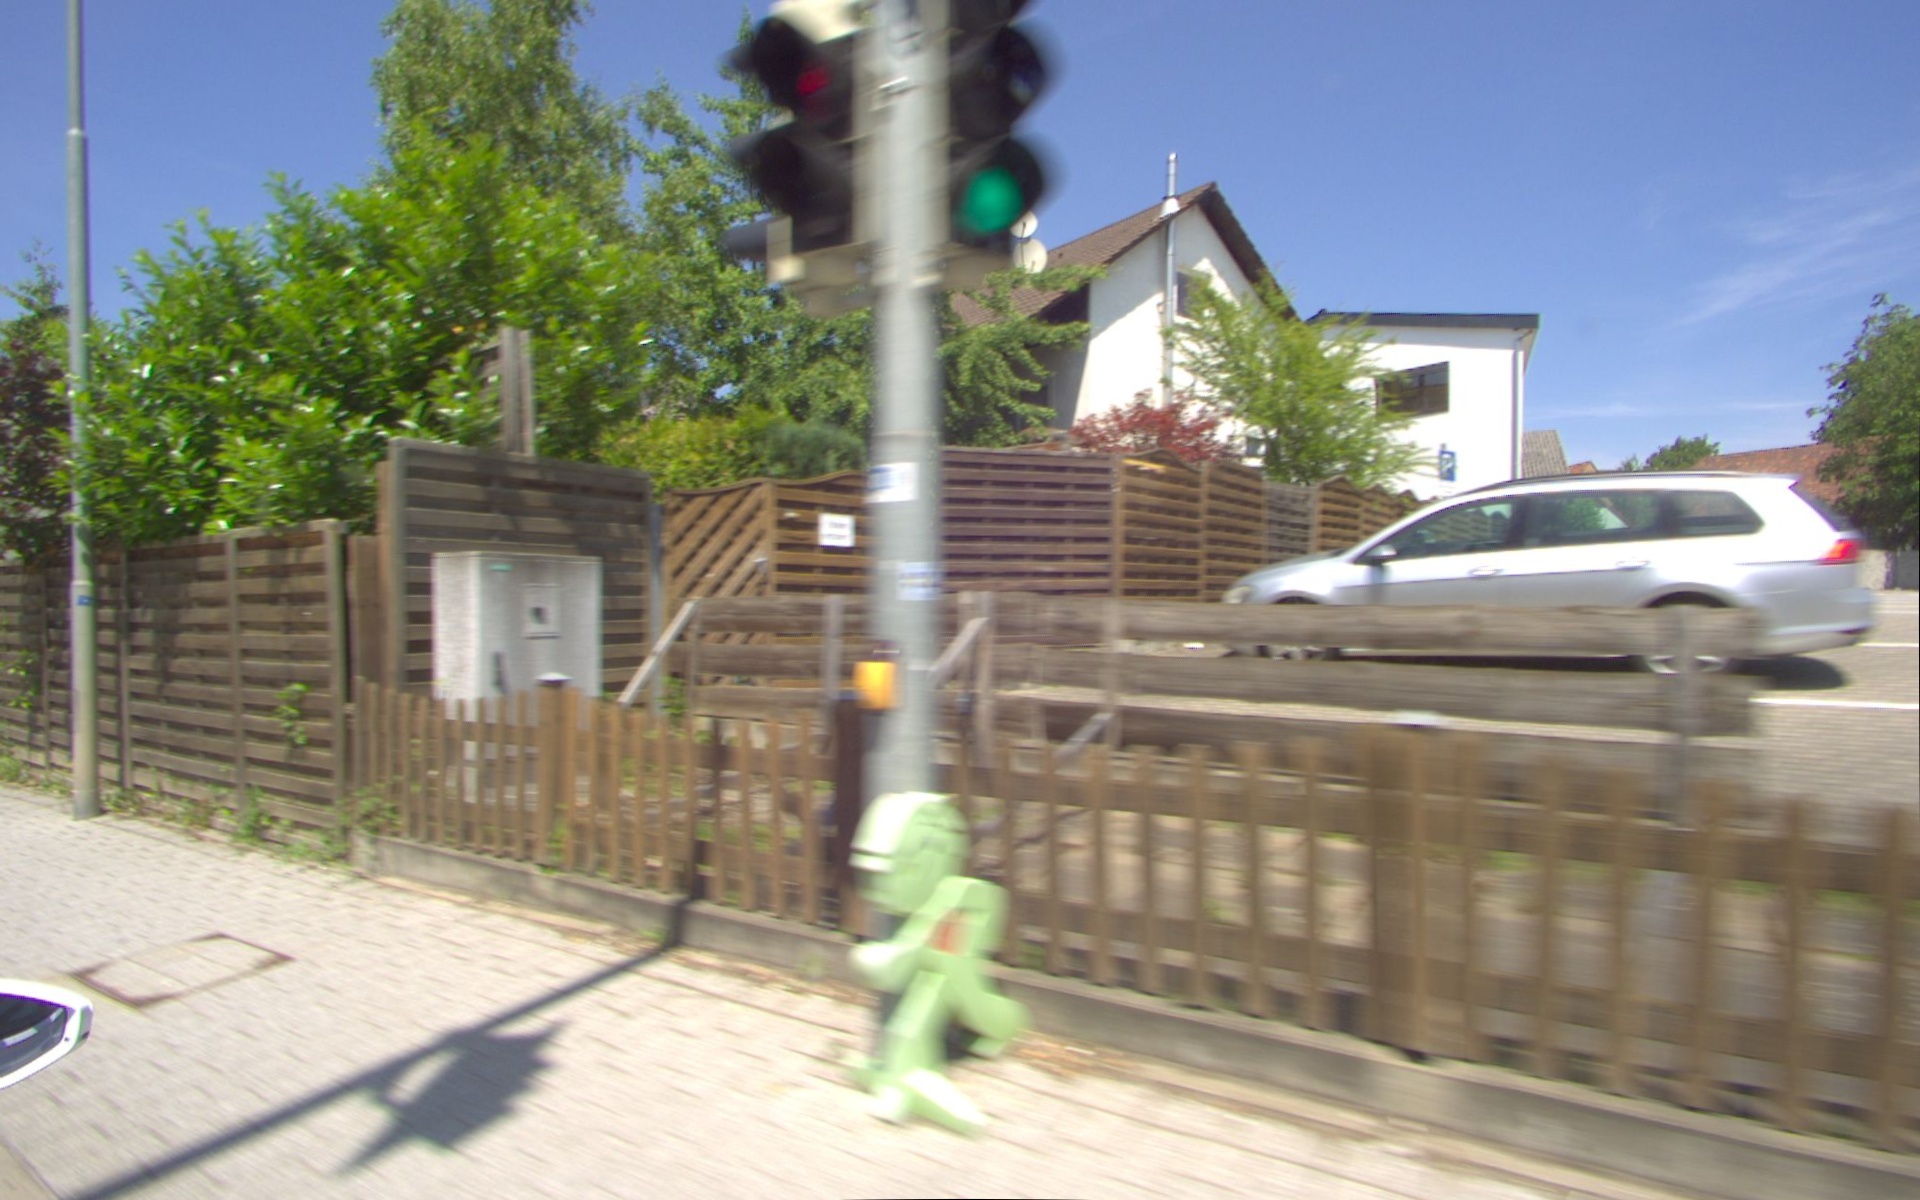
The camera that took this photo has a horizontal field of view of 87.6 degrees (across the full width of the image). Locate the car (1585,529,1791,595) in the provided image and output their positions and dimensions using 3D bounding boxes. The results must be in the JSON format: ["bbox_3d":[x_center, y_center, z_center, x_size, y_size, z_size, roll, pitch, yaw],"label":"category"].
[{"bbox_3d":[23.852,-1.218,33.116,5.356,1.976,2.130,0,3,33],"label":"car"}]

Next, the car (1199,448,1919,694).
[{"bbox_3d":[4.338,-0.229,7.937,4.440,1.485,1.624,0,6,34],"label":"car"}]
